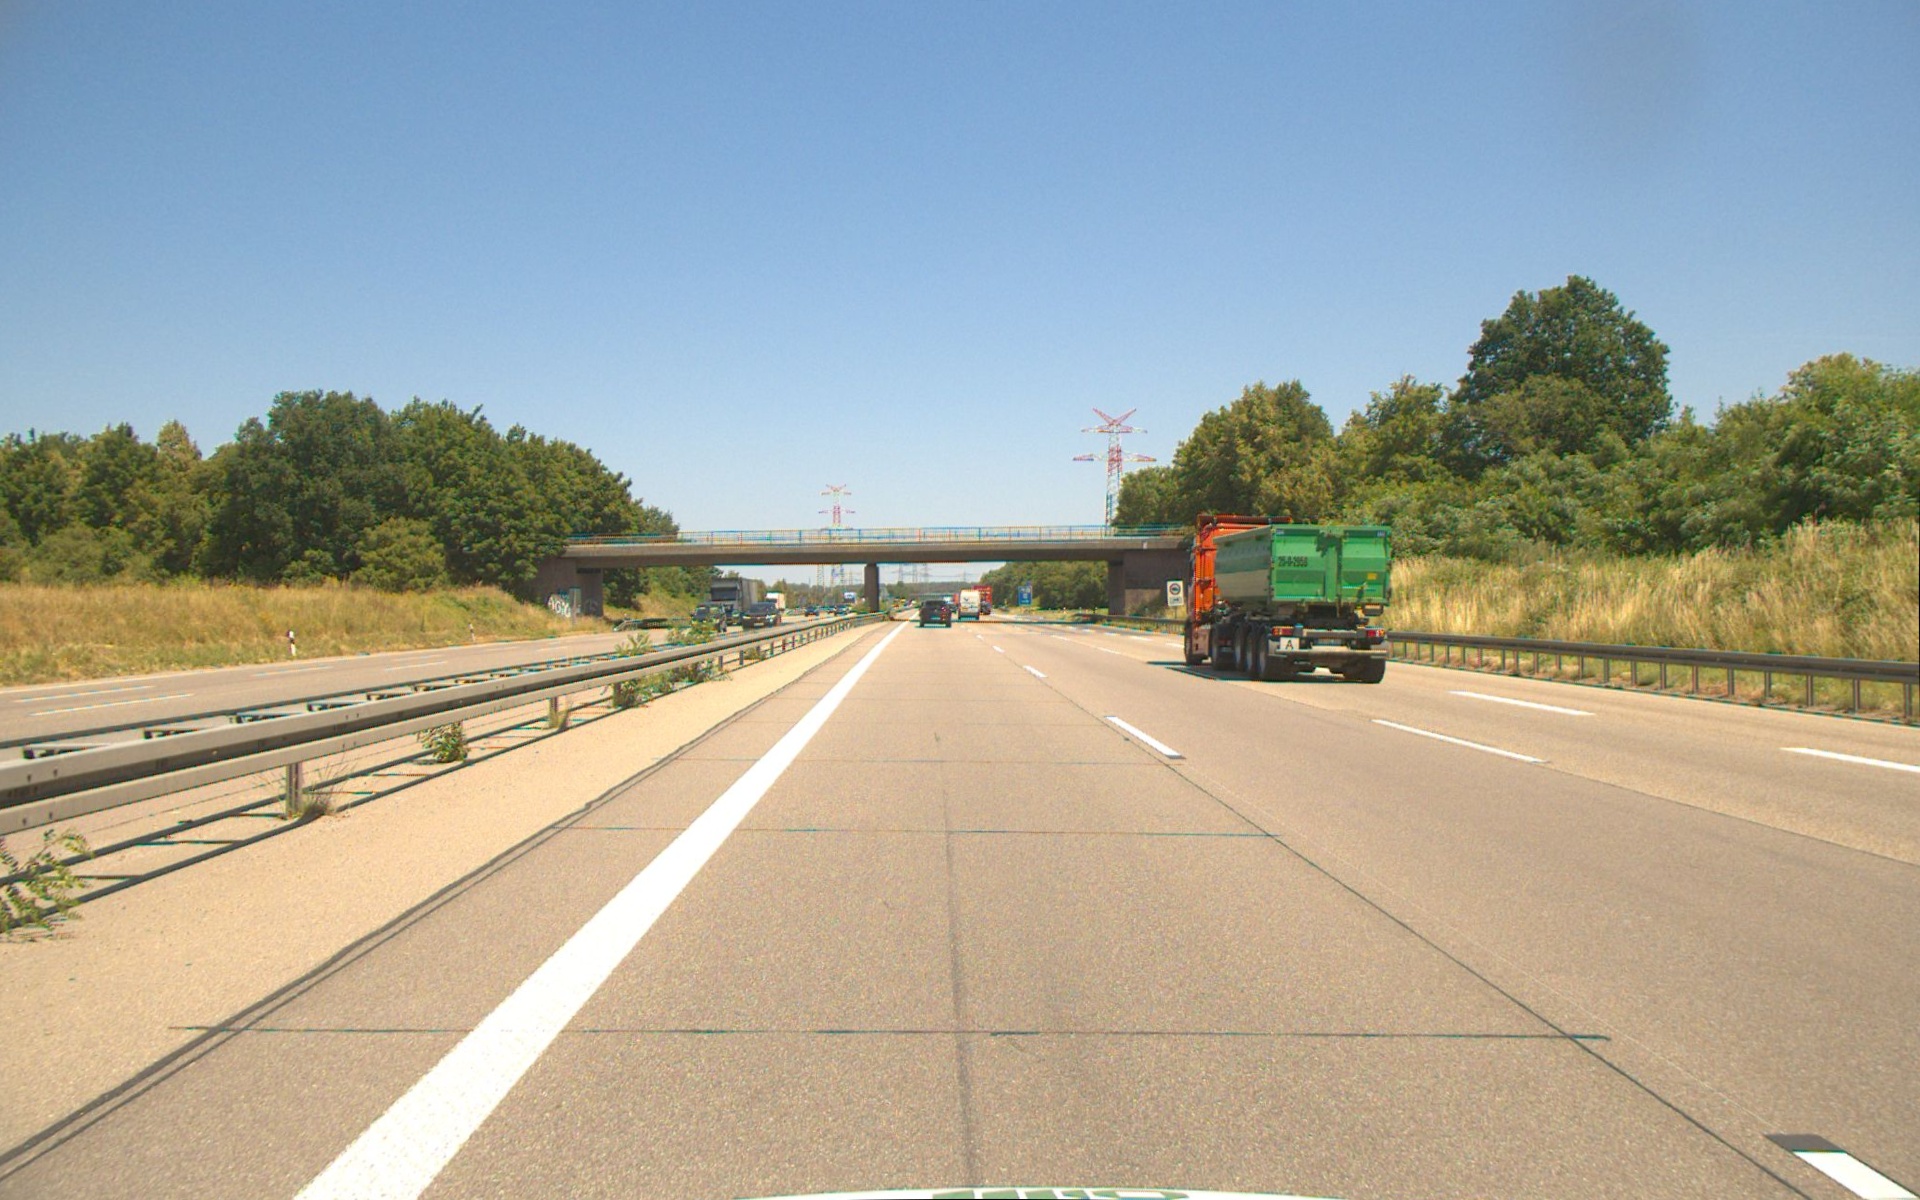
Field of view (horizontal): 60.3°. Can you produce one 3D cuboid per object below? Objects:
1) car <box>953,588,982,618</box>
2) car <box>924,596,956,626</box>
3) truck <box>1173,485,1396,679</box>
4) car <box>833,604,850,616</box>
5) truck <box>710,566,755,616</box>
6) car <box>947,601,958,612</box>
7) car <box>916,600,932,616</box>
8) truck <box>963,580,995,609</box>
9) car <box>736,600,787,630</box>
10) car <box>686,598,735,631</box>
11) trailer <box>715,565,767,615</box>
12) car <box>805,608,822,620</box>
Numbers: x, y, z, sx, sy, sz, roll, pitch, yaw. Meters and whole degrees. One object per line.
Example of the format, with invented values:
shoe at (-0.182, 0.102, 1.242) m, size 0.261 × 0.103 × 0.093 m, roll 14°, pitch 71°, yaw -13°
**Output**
car at (0.696, 0.263, 160.615) m, size 2.568 × 2.807 × 6.095 m, roll 1°, pitch 0°, yaw -1°
car at (-1.270, 0.655, 103.433) m, size 1.953 × 1.780 × 3.999 m, roll 1°, pitch 0°, yaw -1°
truck at (7.357, -0.365, 39.638) m, size 2.626 × 3.864 × 12.475 m, roll 1°, pitch 0°, yaw -1°
car at (-17.368, 1.512, 241.818) m, size 2.183 × 1.639 × 5.058 m, roll -2°, pitch 0°, yaw -1°
truck at (-19.475, -0.772, 141.910) m, size 2.889 × 4.029 × 6.951 m, roll -3°, pitch 0°, yaw -1°
car at (-1.151, 0.996, 250.500) m, size 1.711 × 1.662 × 4.002 m, roll 1°, pitch 0°, yaw -1°
car at (-4.121, 0.861, 189.985) m, size 1.758 × 1.780 × 3.999 m, roll 1°, pitch 0°, yaw -1°
truck at (2.735, -0.753, 240.770) m, size 4.243 × 4.010 × 16.074 m, roll 1°, pitch 0°, yaw -1°
car at (-10.689, 0.796, 89.340) m, size 2.183 × 1.449 × 5.298 m, roll -2°, pitch 0°, yaw -1°
car at (-15.030, 0.835, 99.796) m, size 2.183 × 1.843 × 5.298 m, roll -2°, pitch 0°, yaw -1°
trailer at (-19.642, -0.859, 148.937) m, size 2.889 × 4.179 × 14.099 m, roll -3°, pitch 0°, yaw -1°
car at (-21.624, 2.053, 244.204) m, size 2.183 × 1.639 × 5.058 m, roll -2°, pitch 0°, yaw -1°
